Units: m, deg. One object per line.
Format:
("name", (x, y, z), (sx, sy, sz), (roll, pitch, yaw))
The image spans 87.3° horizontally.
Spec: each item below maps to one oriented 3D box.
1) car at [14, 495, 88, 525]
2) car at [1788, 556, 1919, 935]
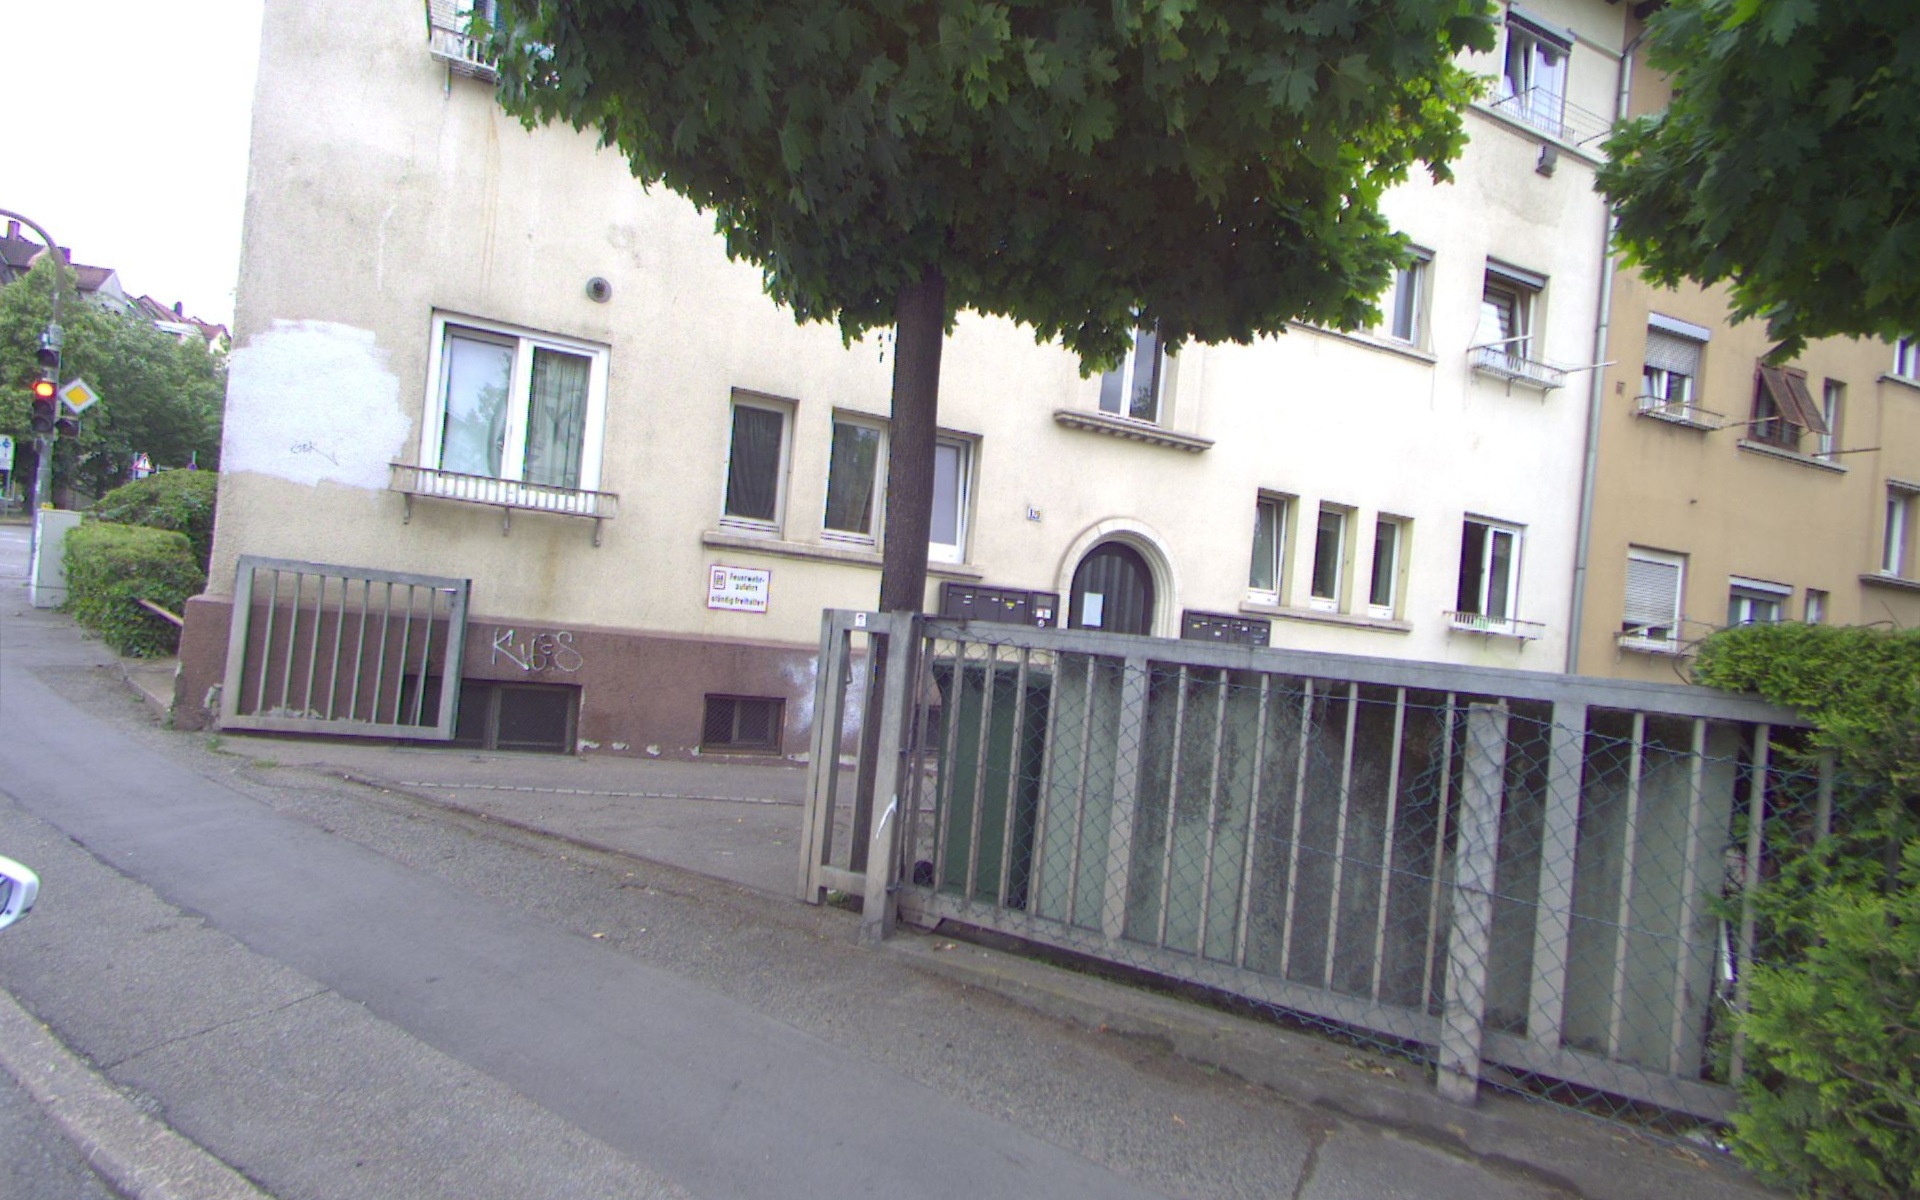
("car", (-62.950, -6.214, 69.773), (1.848, 1.432, 4.684), (8, -2, -17))
("car", (5.551, 0.782, 3.786), (3.381, 1.477, 1.700), (6, -2, 30))
